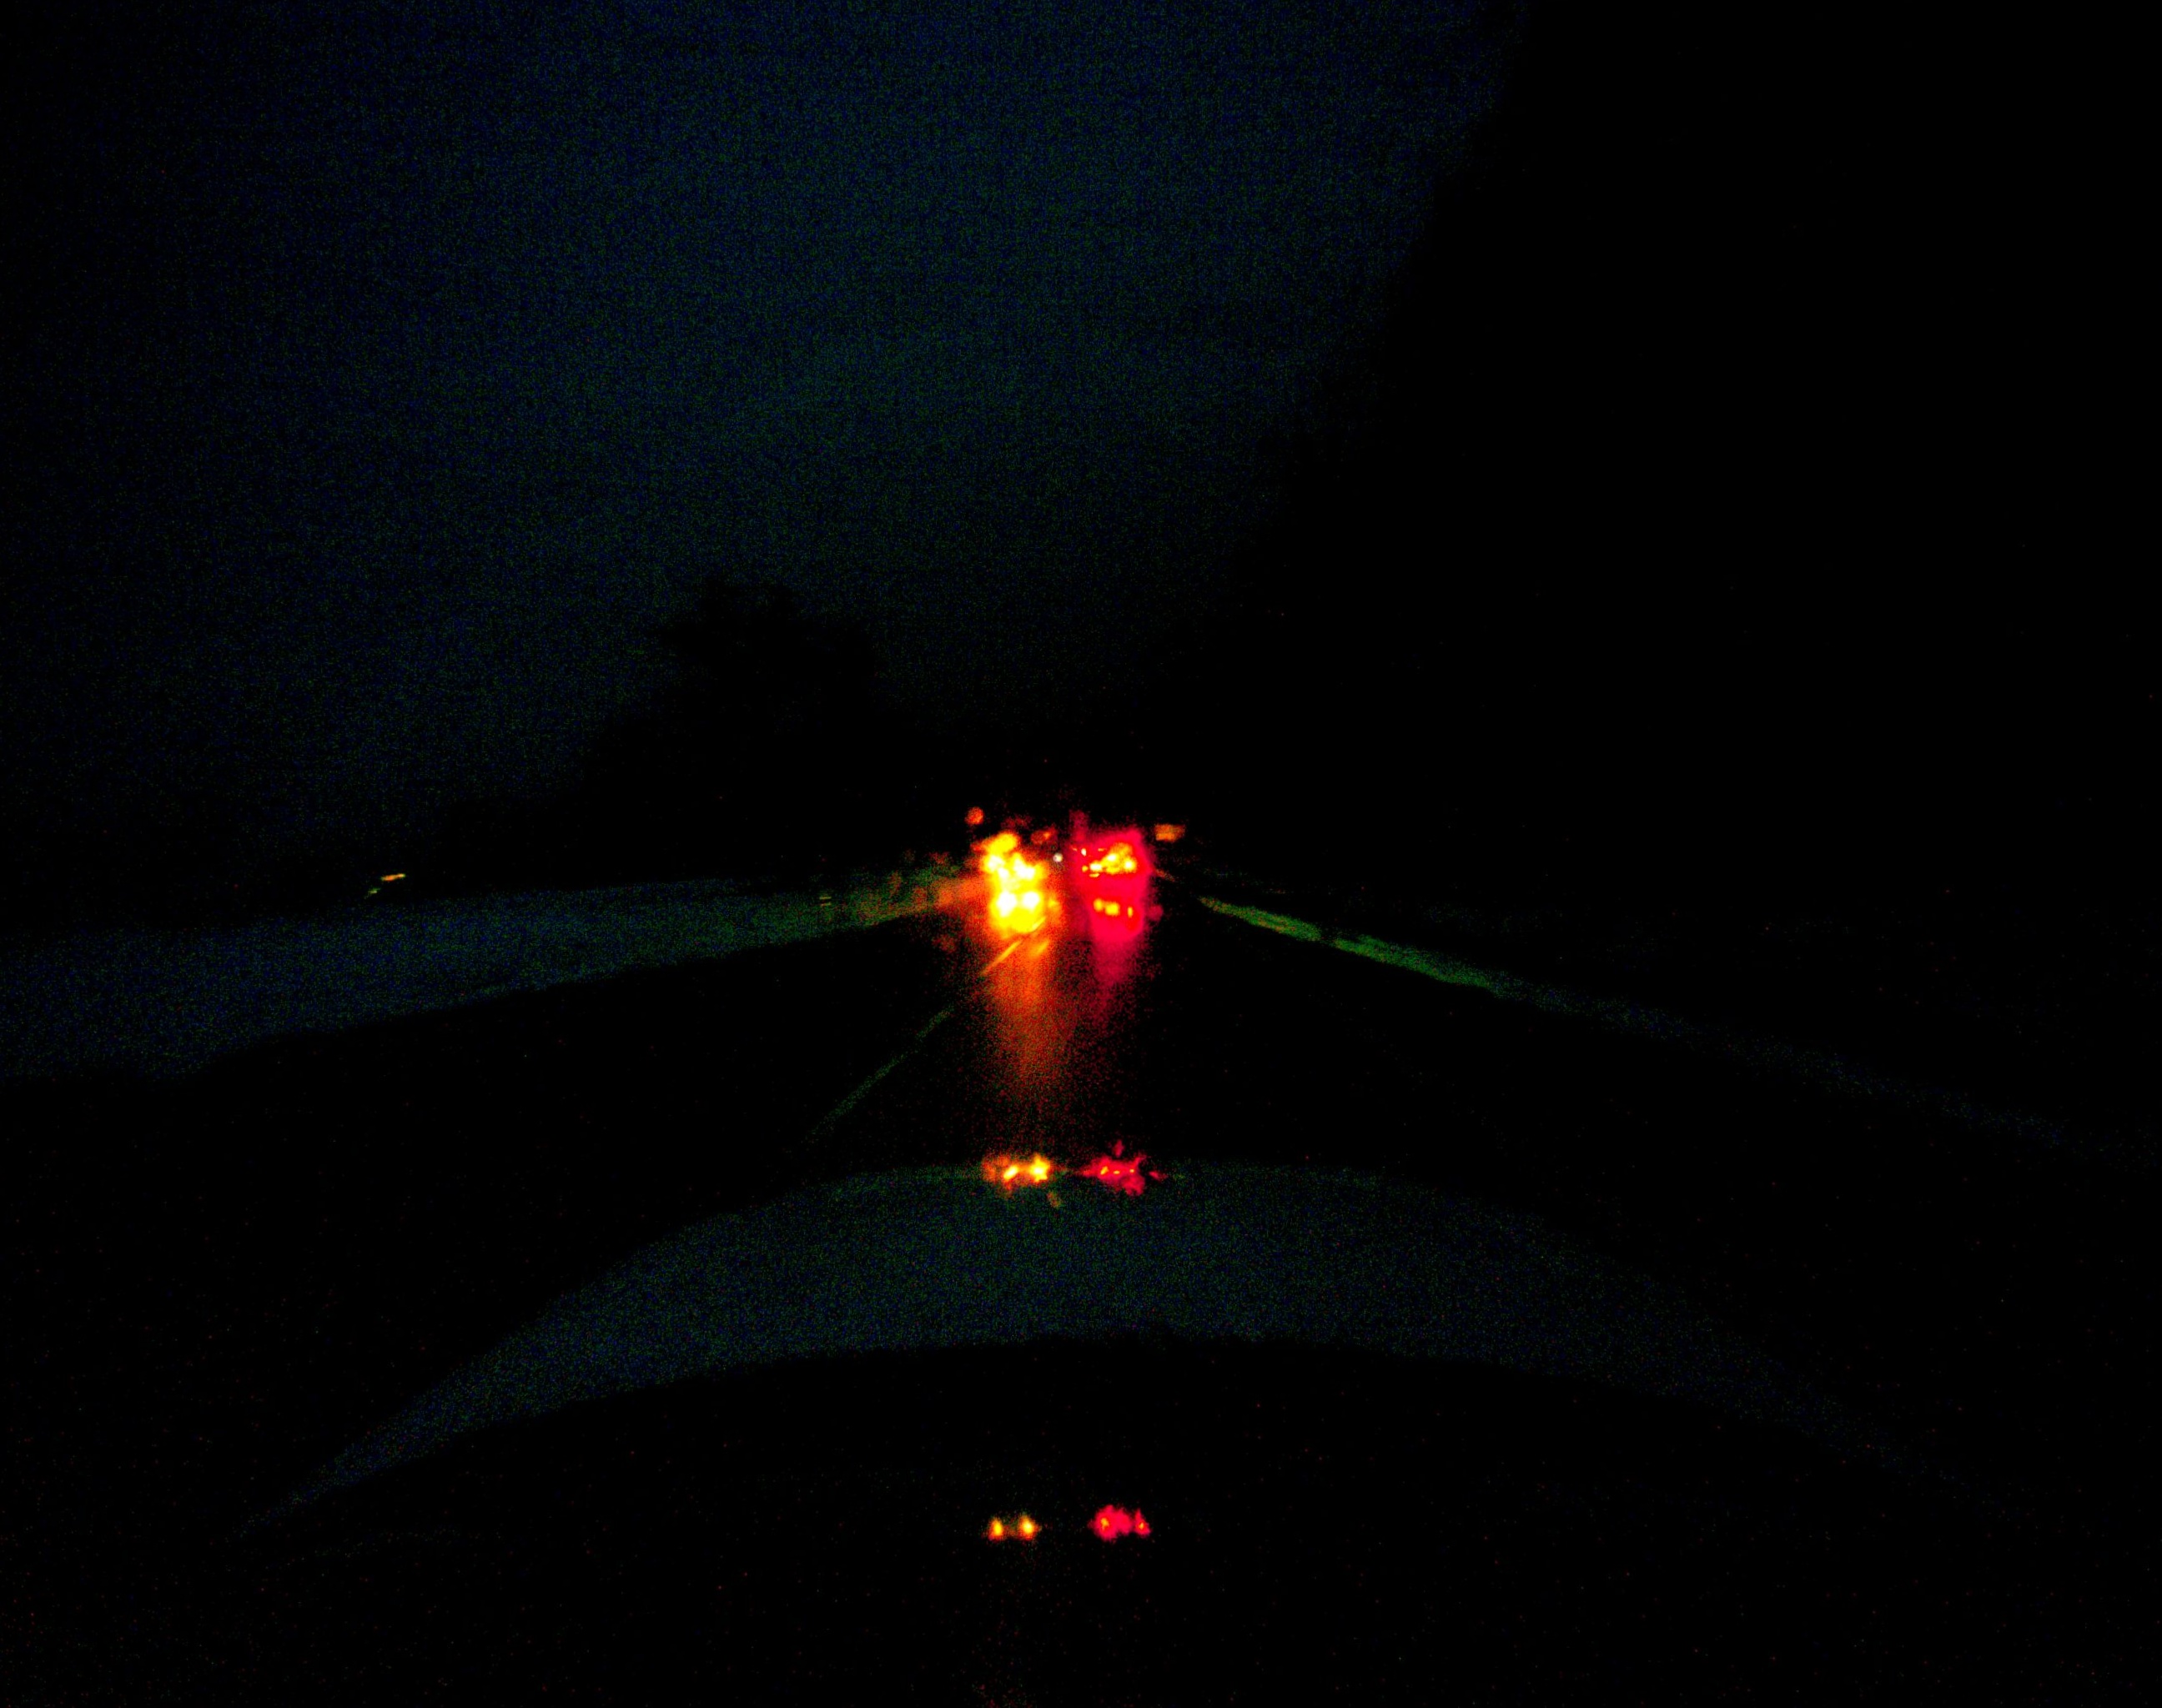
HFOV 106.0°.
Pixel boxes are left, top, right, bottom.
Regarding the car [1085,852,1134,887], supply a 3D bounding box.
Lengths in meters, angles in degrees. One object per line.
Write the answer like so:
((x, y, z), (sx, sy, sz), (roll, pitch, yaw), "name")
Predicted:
((1.200, 0.631, 35.516), (1.916, 1.276, 3.999), (-2, 2, -1), "car")

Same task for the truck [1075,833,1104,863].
((0.797, -0.576, 78.593), (2.073, 2.745, 5.307), (-2, 0, -6), "truck")

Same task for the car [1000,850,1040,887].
((-3.047, 0.679, 41.183), (1.747, 1.693, 4.422), (-3, 0, -2), "car")

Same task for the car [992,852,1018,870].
((-7.619, 0.683, 81.953), (1.733, 1.486, 4.011), (-4, 1, 5), "car")
